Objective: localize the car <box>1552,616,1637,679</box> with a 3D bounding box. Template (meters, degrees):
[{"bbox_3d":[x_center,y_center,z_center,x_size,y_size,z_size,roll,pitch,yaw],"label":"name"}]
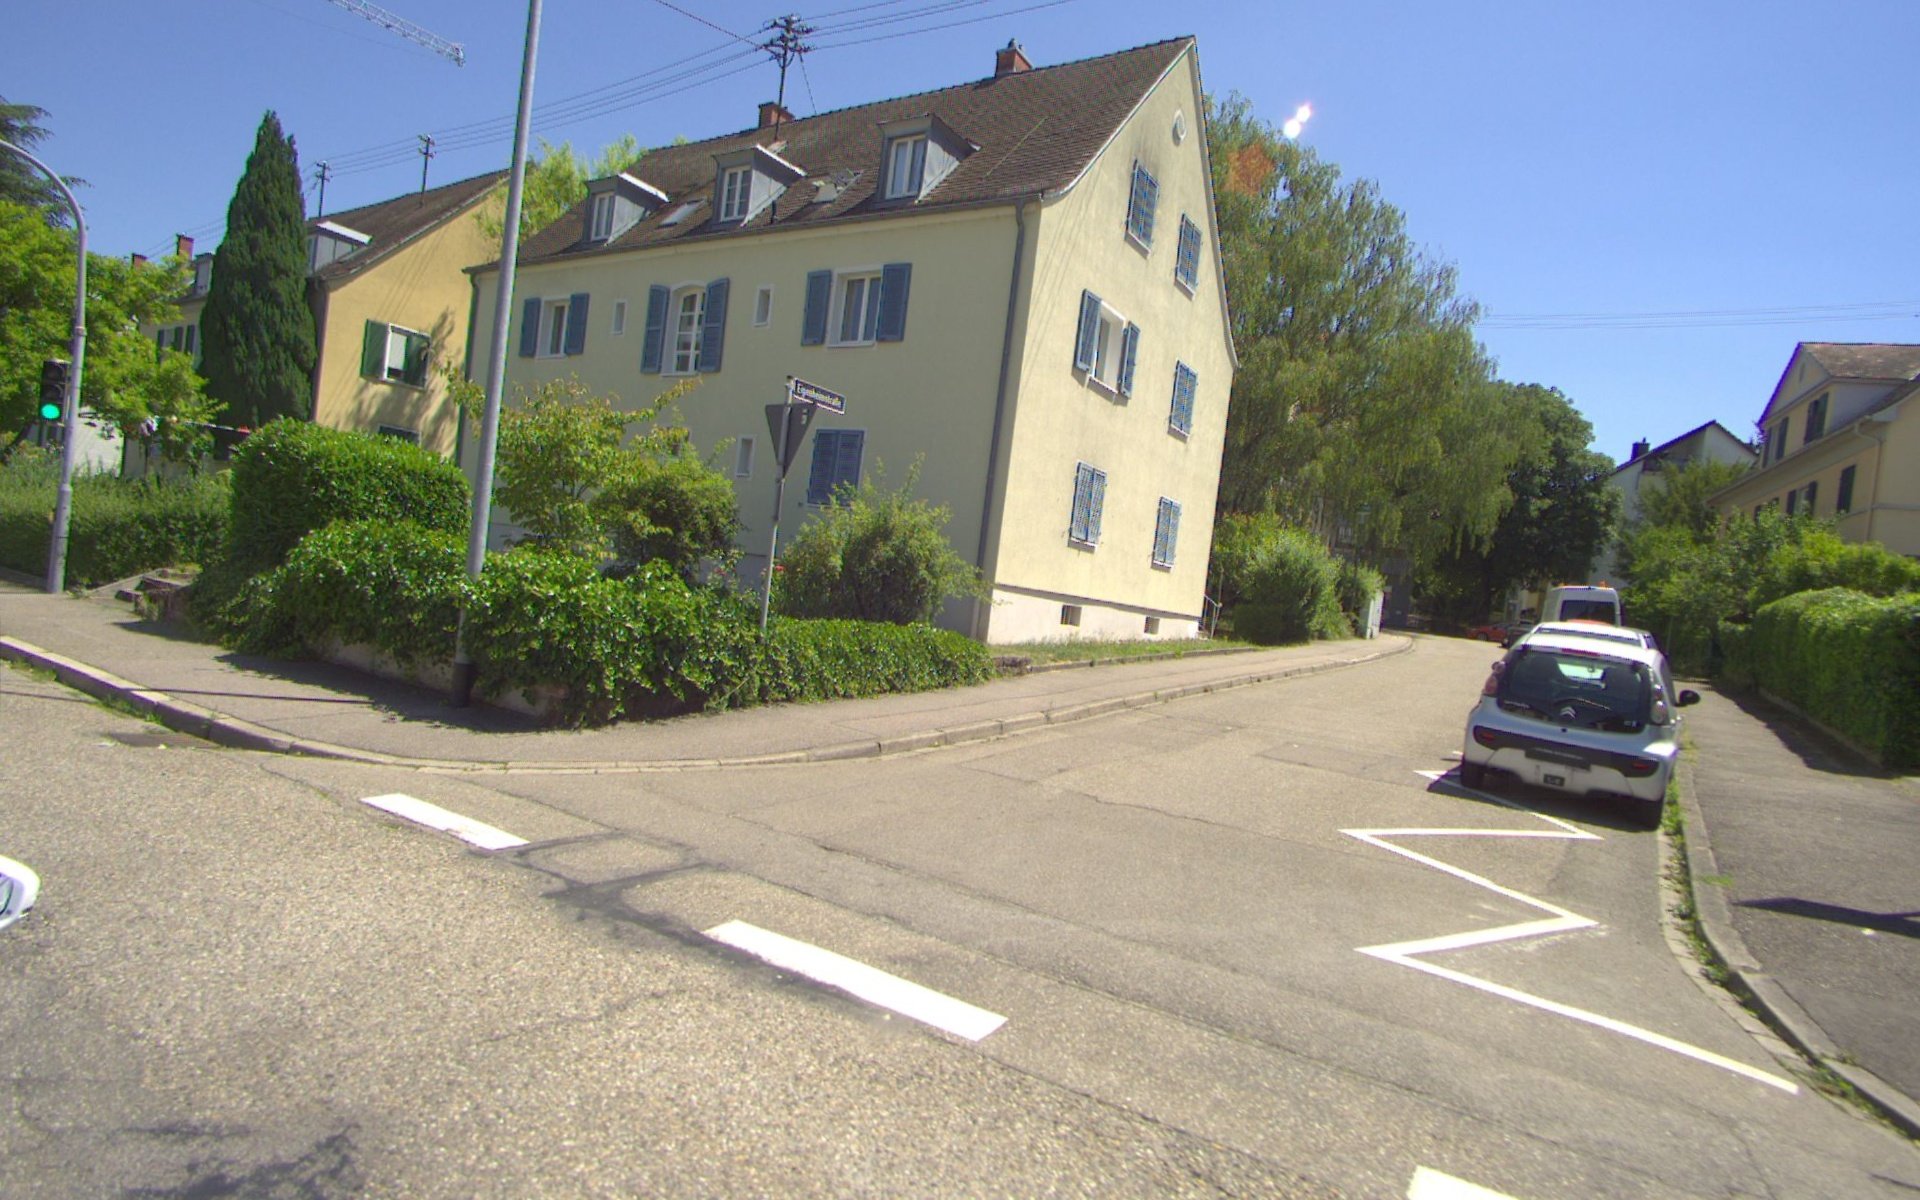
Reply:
[{"bbox_3d":[18.443,1.345,29.167,1.772,1.530,3.985,6,2,35],"label":"car"}]

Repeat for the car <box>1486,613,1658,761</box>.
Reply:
[{"bbox_3d":[8.173,1.012,13.304,1.587,1.473,3.497,7,5,35],"label":"car"}]

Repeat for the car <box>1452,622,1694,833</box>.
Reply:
[{"bbox_3d":[6.140,1.067,9.911,1.587,1.473,3.399,8,5,36],"label":"car"}]

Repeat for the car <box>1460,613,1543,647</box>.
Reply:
[{"bbox_3d":[31.959,1.749,59.499,3.925,1.530,1.798,7,2,19],"label":"car"}]

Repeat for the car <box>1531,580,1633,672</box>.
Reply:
[{"bbox_3d":[21.327,0.861,34.698,2.124,2.732,4.870,7,2,25],"label":"car"}]

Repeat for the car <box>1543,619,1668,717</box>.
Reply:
[{"bbox_3d":[12.198,1.203,18.934,1.672,1.472,3.821,7,3,35],"label":"car"}]

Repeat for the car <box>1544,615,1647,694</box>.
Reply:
[{"bbox_3d":[15.116,1.241,23.886,1.771,1.531,3.985,7,3,34],"label":"car"}]

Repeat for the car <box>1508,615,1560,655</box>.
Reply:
[{"bbox_3d":[26.130,1.562,45.883,1.769,1.531,3.990,7,3,28],"label":"car"}]
